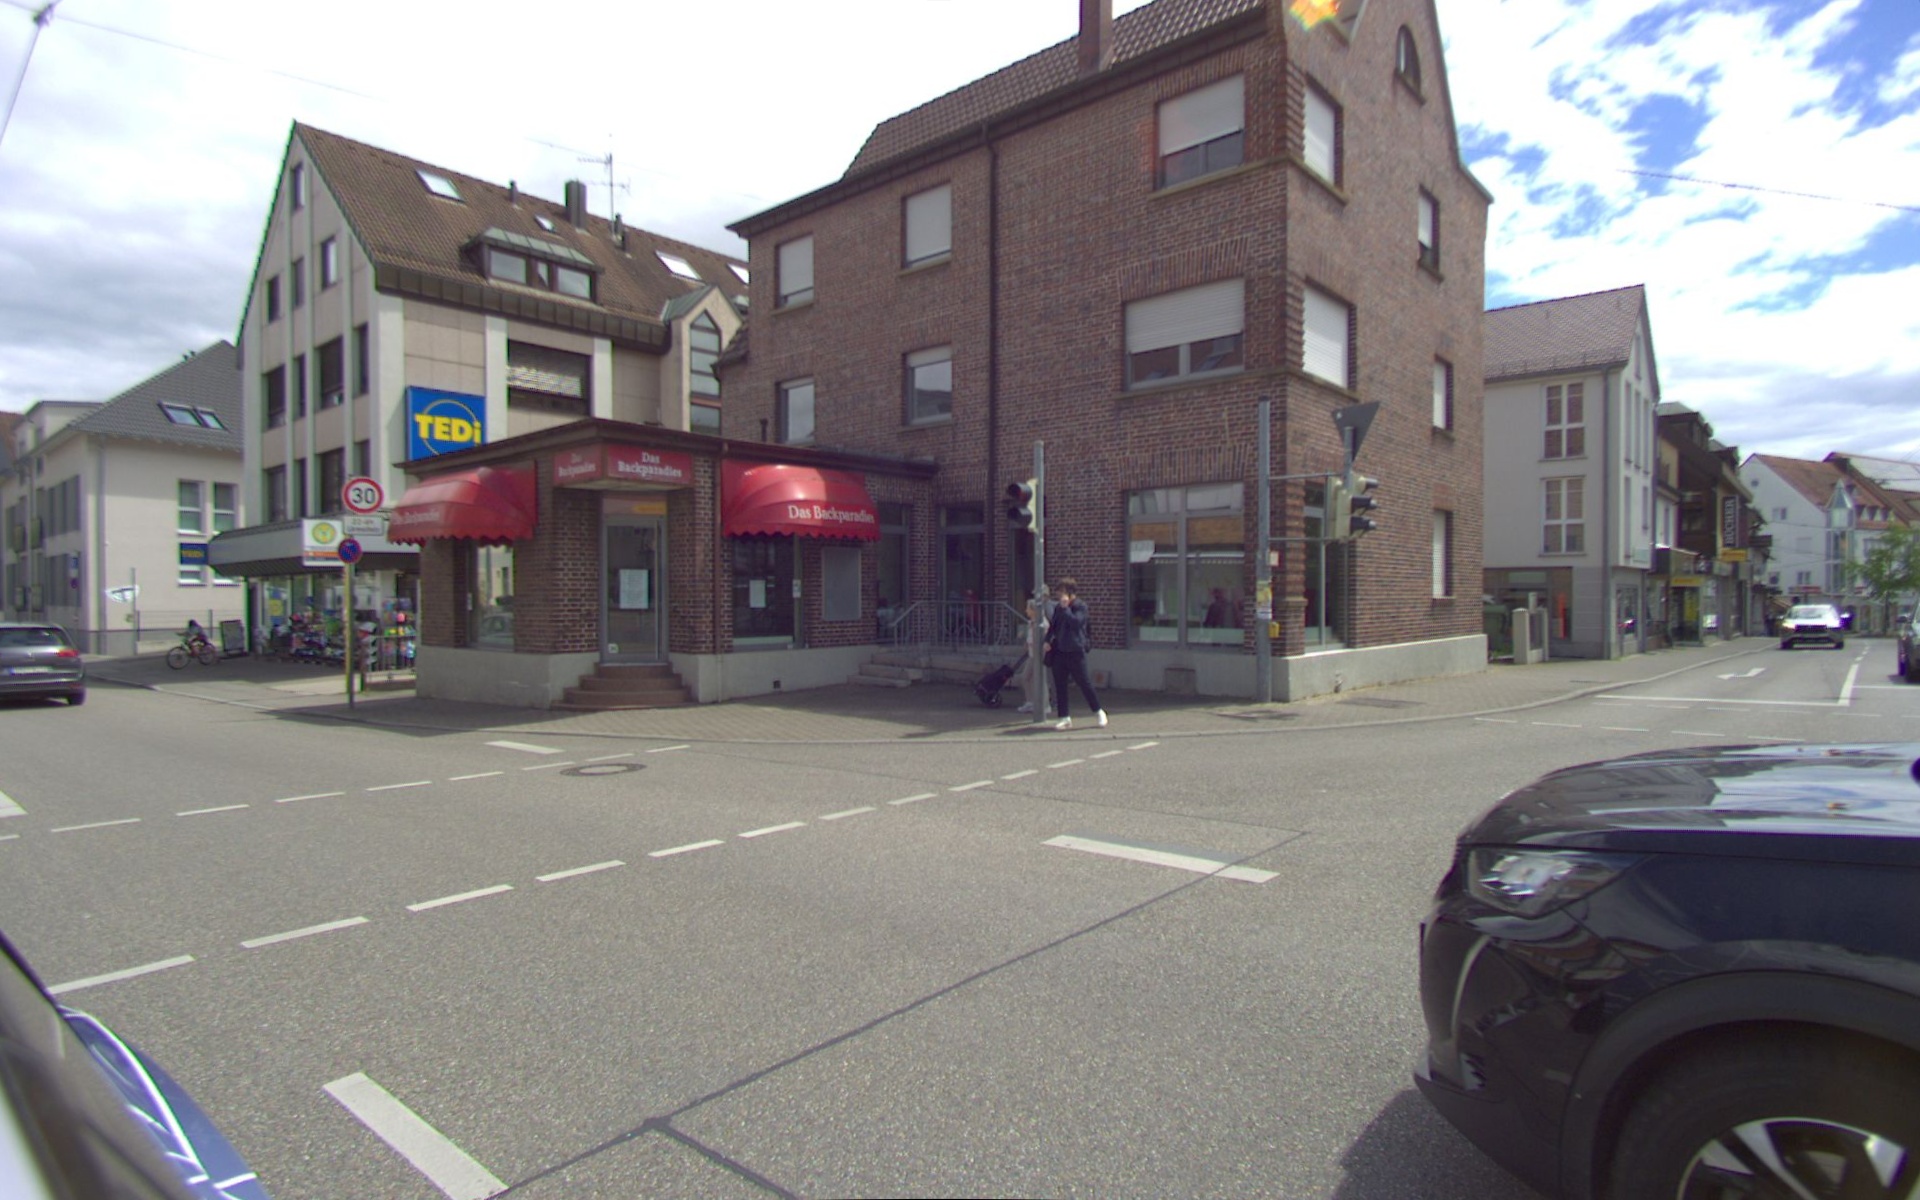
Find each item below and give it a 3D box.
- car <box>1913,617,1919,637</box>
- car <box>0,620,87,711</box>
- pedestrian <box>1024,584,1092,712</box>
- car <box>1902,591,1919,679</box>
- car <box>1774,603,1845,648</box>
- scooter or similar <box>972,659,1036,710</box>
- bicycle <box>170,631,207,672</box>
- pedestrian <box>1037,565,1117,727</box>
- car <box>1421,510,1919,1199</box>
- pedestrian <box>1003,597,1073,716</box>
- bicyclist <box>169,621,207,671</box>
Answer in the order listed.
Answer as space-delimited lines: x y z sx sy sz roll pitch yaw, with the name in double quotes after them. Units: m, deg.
72.739 2.040 76.085 1.488 1.490 3.152 -1 -2 44 "car"
-18.468 1.224 19.540 4.096 1.602 1.772 -2 -2 39 "car"
1.329 0.616 13.689 0.760 1.671 0.519 1 1 39 "pedestrian"
19.133 0.634 19.003 1.920 1.586 3.945 -1 -1 41 "car"
31.829 0.938 37.884 1.920 1.586 4.270 -1 -1 41 "car"
0.604 1.151 13.879 0.803 0.651 0.377 0 -2 18 "scooter or similar"
-22.308 1.485 29.243 1.733 1.057 0.439 1 4 41 "bicycle"
1.361 0.502 11.782 0.720 1.810 0.619 1 1 39 "pedestrian"
2.985 0.602 1.406 3.965 1.508 1.665 -1 -1 41 "car"
1.013 0.712 13.228 0.760 1.496 0.519 1 1 39 "pedestrian"
-22.304 1.309 29.243 0.761 1.347 0.660 1 4 40 "bicyclist"
